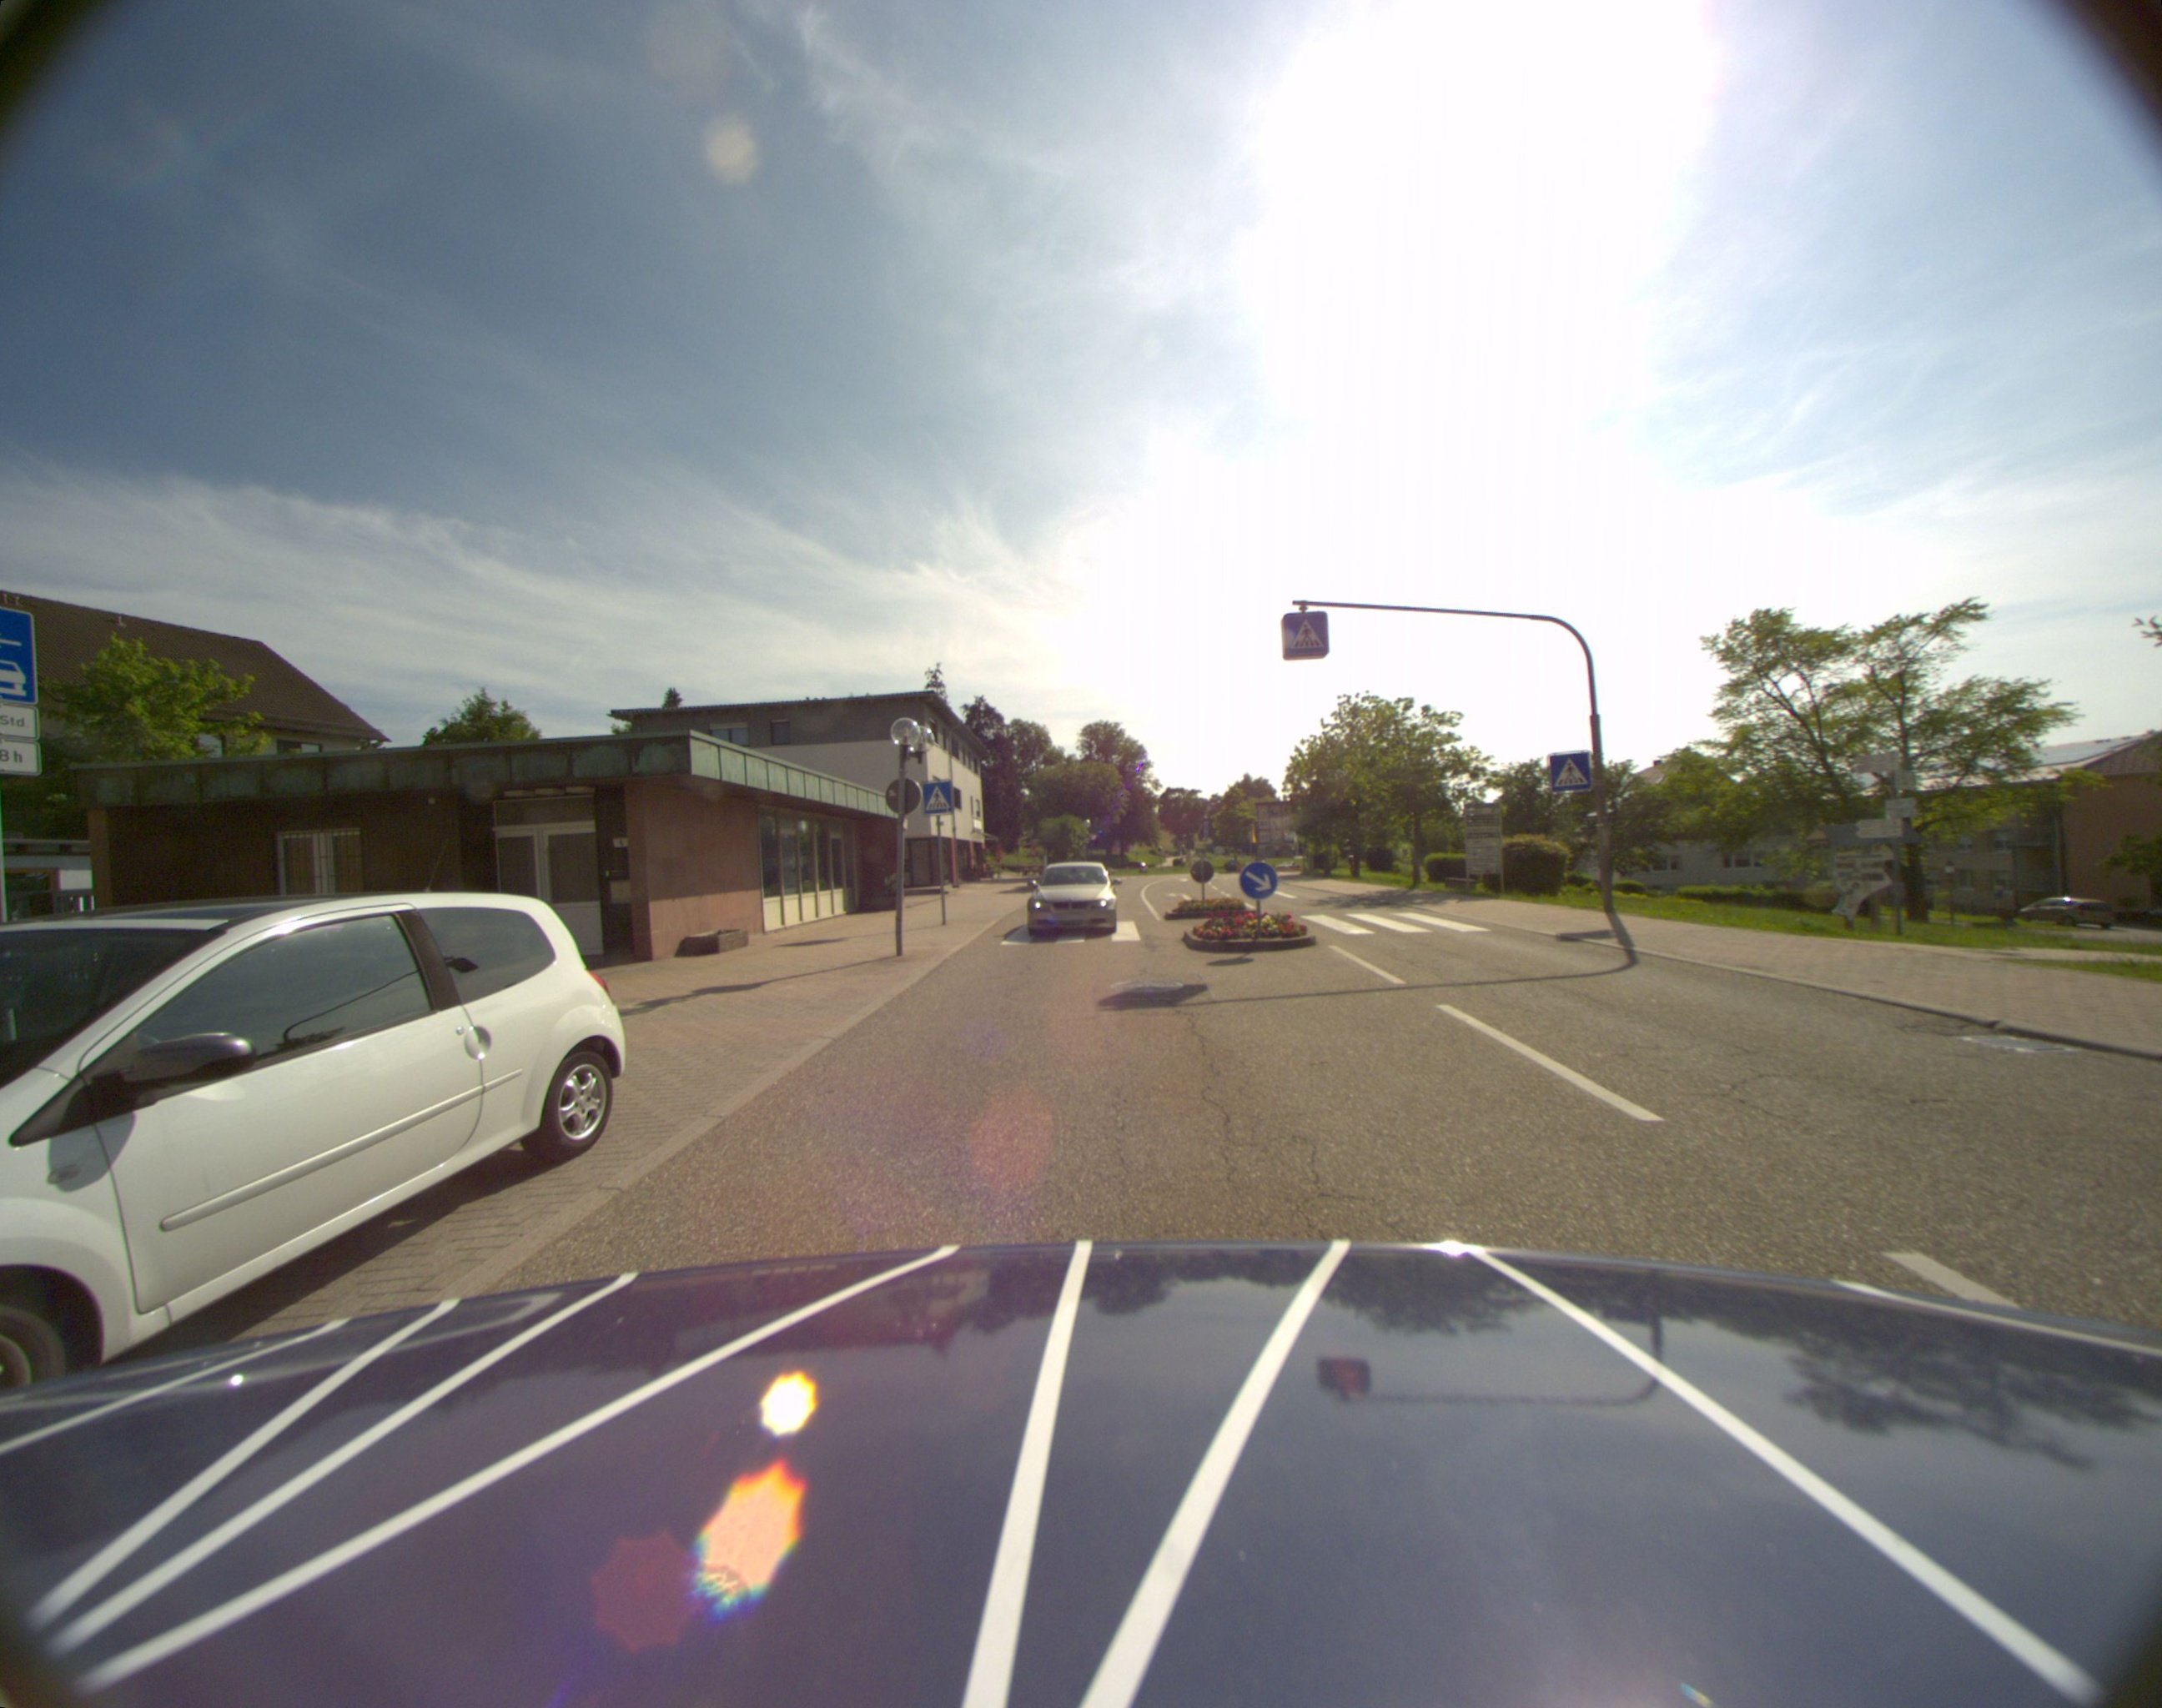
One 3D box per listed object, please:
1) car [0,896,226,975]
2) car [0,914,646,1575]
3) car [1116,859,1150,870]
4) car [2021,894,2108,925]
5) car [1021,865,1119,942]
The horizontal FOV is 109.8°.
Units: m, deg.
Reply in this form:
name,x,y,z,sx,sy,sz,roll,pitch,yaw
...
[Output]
name,x,y,z,sx,sy,sz,roll,pitch,yaw
car,-22.452,1.795,17.597,1.491,1.475,3.315,0,0,3
car,-3.485,1.061,2.573,1.764,1.415,3.634,-1,0,3
car,6.911,1.358,100.976,4.254,1.420,1.706,-1,0,35
car,56.539,3.176,43.743,1.565,1.630,2.975,0,-1,15
car,-0.091,0.966,16.585,1.838,1.360,4.582,0,0,3
